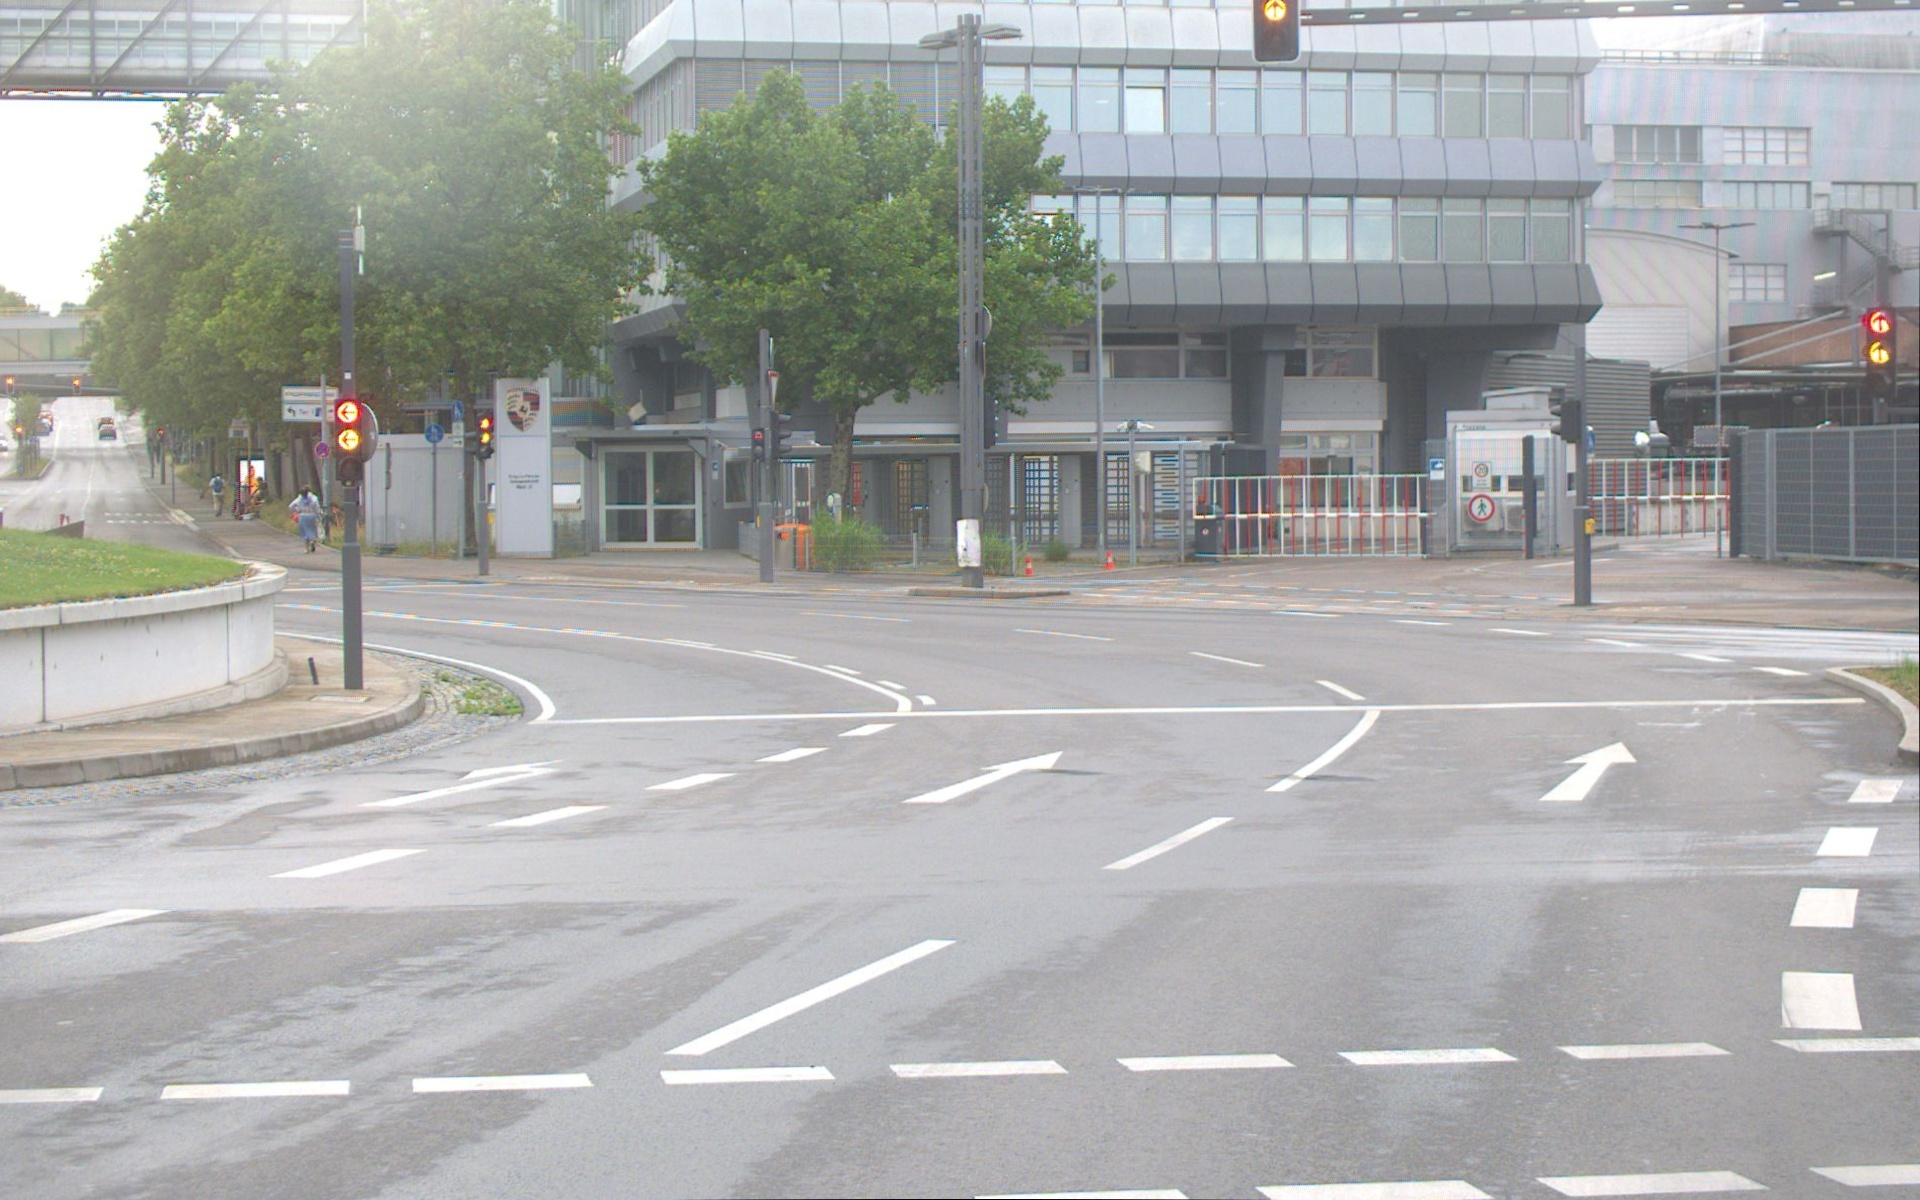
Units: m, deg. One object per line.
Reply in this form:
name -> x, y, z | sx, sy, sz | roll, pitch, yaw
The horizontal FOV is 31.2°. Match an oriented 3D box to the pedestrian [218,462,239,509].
pedestrian -> -27.315, -4.280, 128.439 | 0.711, 1.734, 0.760 | 1, 0, -14

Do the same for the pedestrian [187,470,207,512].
pedestrian -> -36.620, -5.241, 165.060 | 0.765, 2.007, 0.692 | 0, 1, 3

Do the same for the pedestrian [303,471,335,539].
pedestrian -> -15.168, -2.244, 81.318 | 0.709, 1.586, 0.841 | -1, 3, -10

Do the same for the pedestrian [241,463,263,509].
pedestrian -> -26.719, -4.300, 129.765 | 0.757, 1.734, 0.714 | 1, 0, -10

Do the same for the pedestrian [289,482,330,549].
pedestrian -> -15.120, -1.970, 79.908 | 0.831, 1.515, 0.842 | -1, 3, -6
